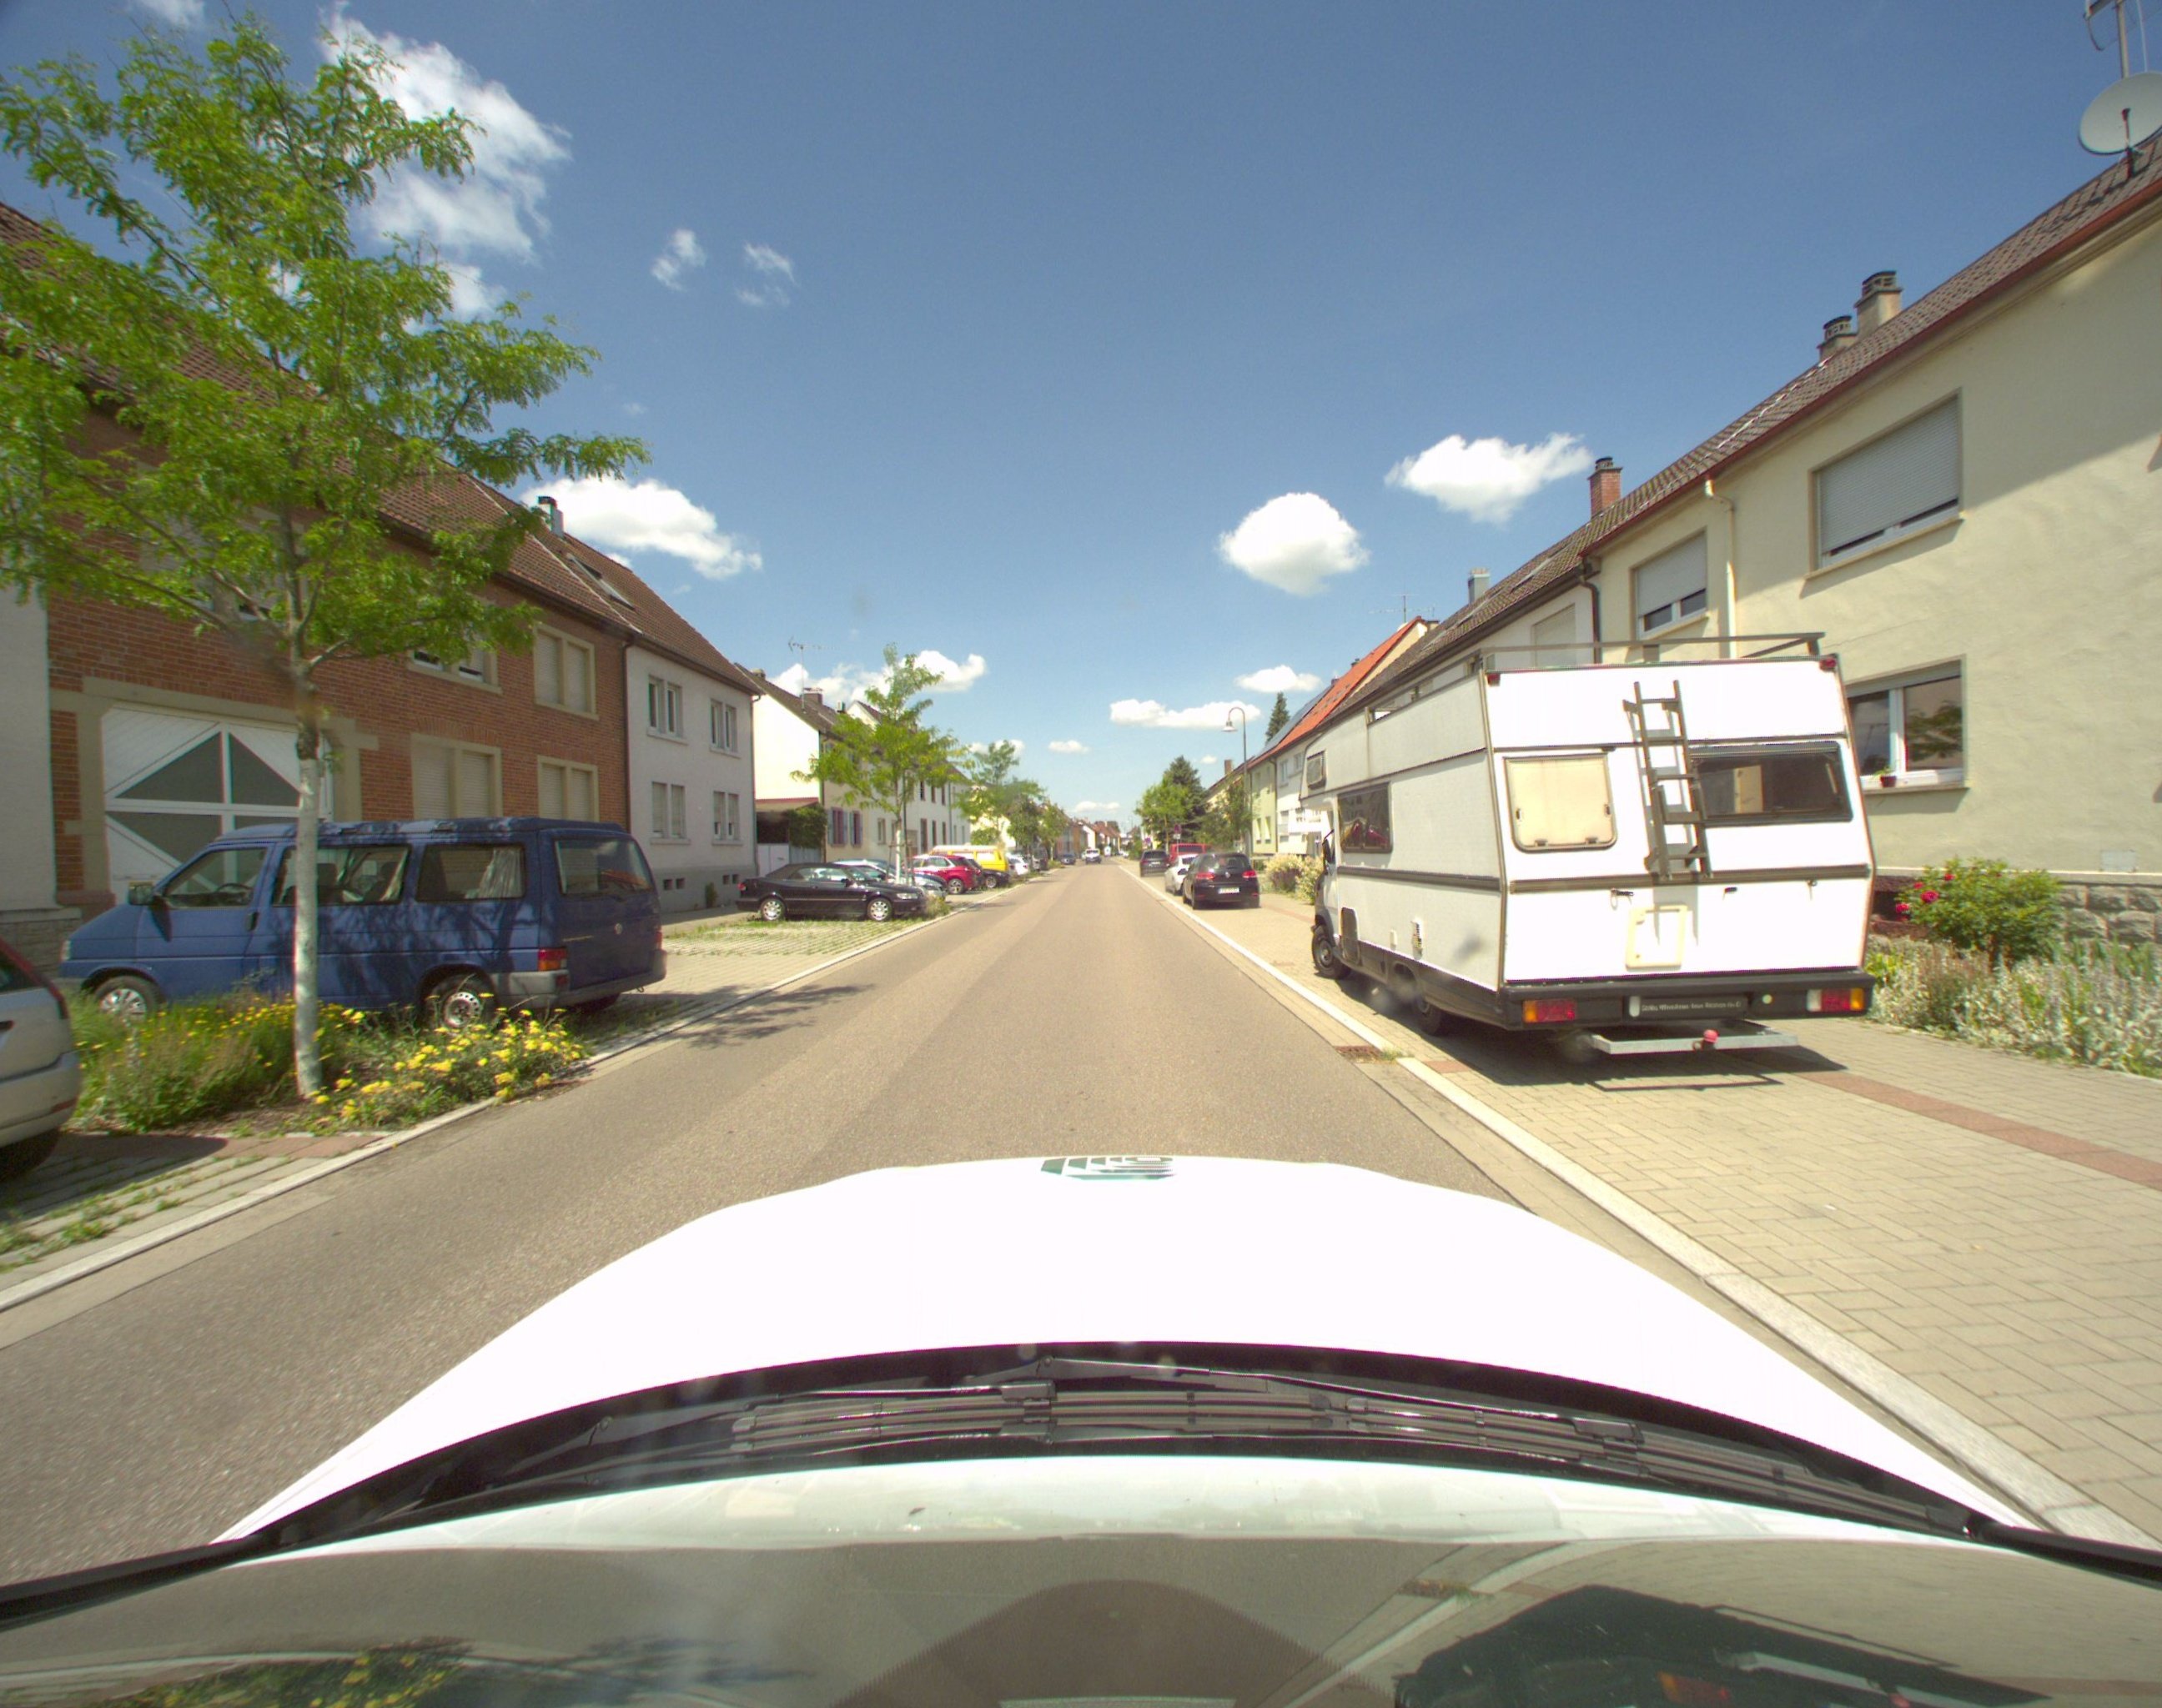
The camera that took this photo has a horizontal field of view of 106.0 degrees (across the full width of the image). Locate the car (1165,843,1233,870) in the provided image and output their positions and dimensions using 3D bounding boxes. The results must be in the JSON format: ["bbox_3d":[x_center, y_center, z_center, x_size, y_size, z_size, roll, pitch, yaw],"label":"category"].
[{"bbox_3d":[8.563,0.198,59.385,4.604,1.893,2.020,-1,-1,0],"label":"car"}]

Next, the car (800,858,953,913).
[{"bbox_3d":[-5.948,0.904,24.061,4.042,1.478,1.775,-1,0,-2],"label":"car"}]

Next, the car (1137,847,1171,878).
[{"bbox_3d":[4.391,0.497,49.664,1.856,1.635,4.451,-4,1,4],"label":"car"}]

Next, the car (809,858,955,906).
[{"bbox_3d":[-6.521,0.903,27.017,4.393,1.478,1.774,-1,0,-3],"label":"car"}]

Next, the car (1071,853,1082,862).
[{"bbox_3d":[-0.835,0.583,144.155,1.804,1.609,4.002,0,0,2],"label":"car"}]

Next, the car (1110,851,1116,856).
[{"bbox_3d":[9.787,-0.197,249.220,1.683,1.504,3.777,0,-1,5],"label":"car"}]

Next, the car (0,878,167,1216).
[{"bbox_3d":[-6.798,0.899,3.470,3.900,1.488,1.774,-1,0,3],"label":"car"}]

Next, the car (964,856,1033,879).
[{"bbox_3d":[-5.441,0.877,53.869,4.277,1.468,1.775,-1,-1,3],"label":"car"}]

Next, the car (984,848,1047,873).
[{"bbox_3d":[-5.066,0.504,63.473,4.683,1.923,1.938,0,-1,1],"label":"car"}]

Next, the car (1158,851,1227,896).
[{"bbox_3d":[3.986,0.671,29.749,1.826,1.465,4.518,-2,0,0],"label":"car"}]

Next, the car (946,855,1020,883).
[{"bbox_3d":[-5.497,0.841,45.853,4.068,1.468,1.749,-1,0,-7],"label":"car"}]

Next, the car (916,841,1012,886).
[{"bbox_3d":[-5.882,0.480,41.317,4.492,2.177,1.926,-1,0,1],"label":"car"}]

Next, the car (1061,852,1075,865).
[{"bbox_3d":[-1.726,0.590,108.531,1.811,1.433,4.138,2,1,-1],"label":"car"}]

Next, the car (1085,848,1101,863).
[{"bbox_3d":[1.568,0.225,106.649,2.016,1.950,4.898,-2,-1,1],"label":"car"}]

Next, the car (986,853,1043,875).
[{"bbox_3d":[-4.909,0.739,60.745,4.173,1.568,1.772,0,-1,-3],"label":"car"}]

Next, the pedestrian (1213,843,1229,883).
[{"bbox_3d":[6.156,0.392,35.782,0.555,1.749,0.673,-2,-1,2],"label":"pedestrian"}]

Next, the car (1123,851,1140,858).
[{"bbox_3d":[10.686,0.198,173.096,3.510,1.464,1.629,0,-1,2],"label":"car"}]

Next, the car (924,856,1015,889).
[{"bbox_3d":[-5.209,0.873,38.508,3.995,1.459,1.756,-1,0,1],"label":"car"}]

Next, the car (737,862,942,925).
[{"bbox_3d":[-5.907,0.942,20.298,4.508,1.425,1.796,-1,0,1],"label":"car"}]

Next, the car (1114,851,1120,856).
[{"bbox_3d":[11.327,-0.141,256.668,1.683,1.660,3.777,0,-1,5],"label":"car"}]

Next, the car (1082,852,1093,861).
[{"bbox_3d":[1.259,0.430,157.418,1.841,1.659,4.005,0,0,4],"label":"car"}]

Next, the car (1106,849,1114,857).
[{"bbox_3d":[8.113,-0.264,227.132,2.035,2.312,3.777,0,-1,5],"label":"car"}]

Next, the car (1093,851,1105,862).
[{"bbox_3d":[2.919,0.395,131.484,1.757,1.523,4.049,-3,0,1],"label":"car"}]

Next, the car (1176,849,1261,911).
[{"bbox_3d":[3.697,0.654,22.534,1.760,1.529,4.009,-2,0,2],"label":"car"}]

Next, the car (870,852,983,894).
[{"bbox_3d":[-6.270,0.770,33.418,4.239,1.611,1.843,-1,0,0],"label":"car"}]

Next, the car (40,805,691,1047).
[{"bbox_3d":[-6.534,0.620,7.830,4.594,1.996,1.954,-1,0,3],"label":"car"}]

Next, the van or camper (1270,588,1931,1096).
[{"bbox_3d":[3.671,-0.089,7.599,2.464,2.810,5.792,-3,0,1],"label":"van or camper"}]

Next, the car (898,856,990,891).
[{"bbox_3d":[-6.034,0.857,36.233,3.781,1.459,1.754,-1,0,-2],"label":"car"}]
